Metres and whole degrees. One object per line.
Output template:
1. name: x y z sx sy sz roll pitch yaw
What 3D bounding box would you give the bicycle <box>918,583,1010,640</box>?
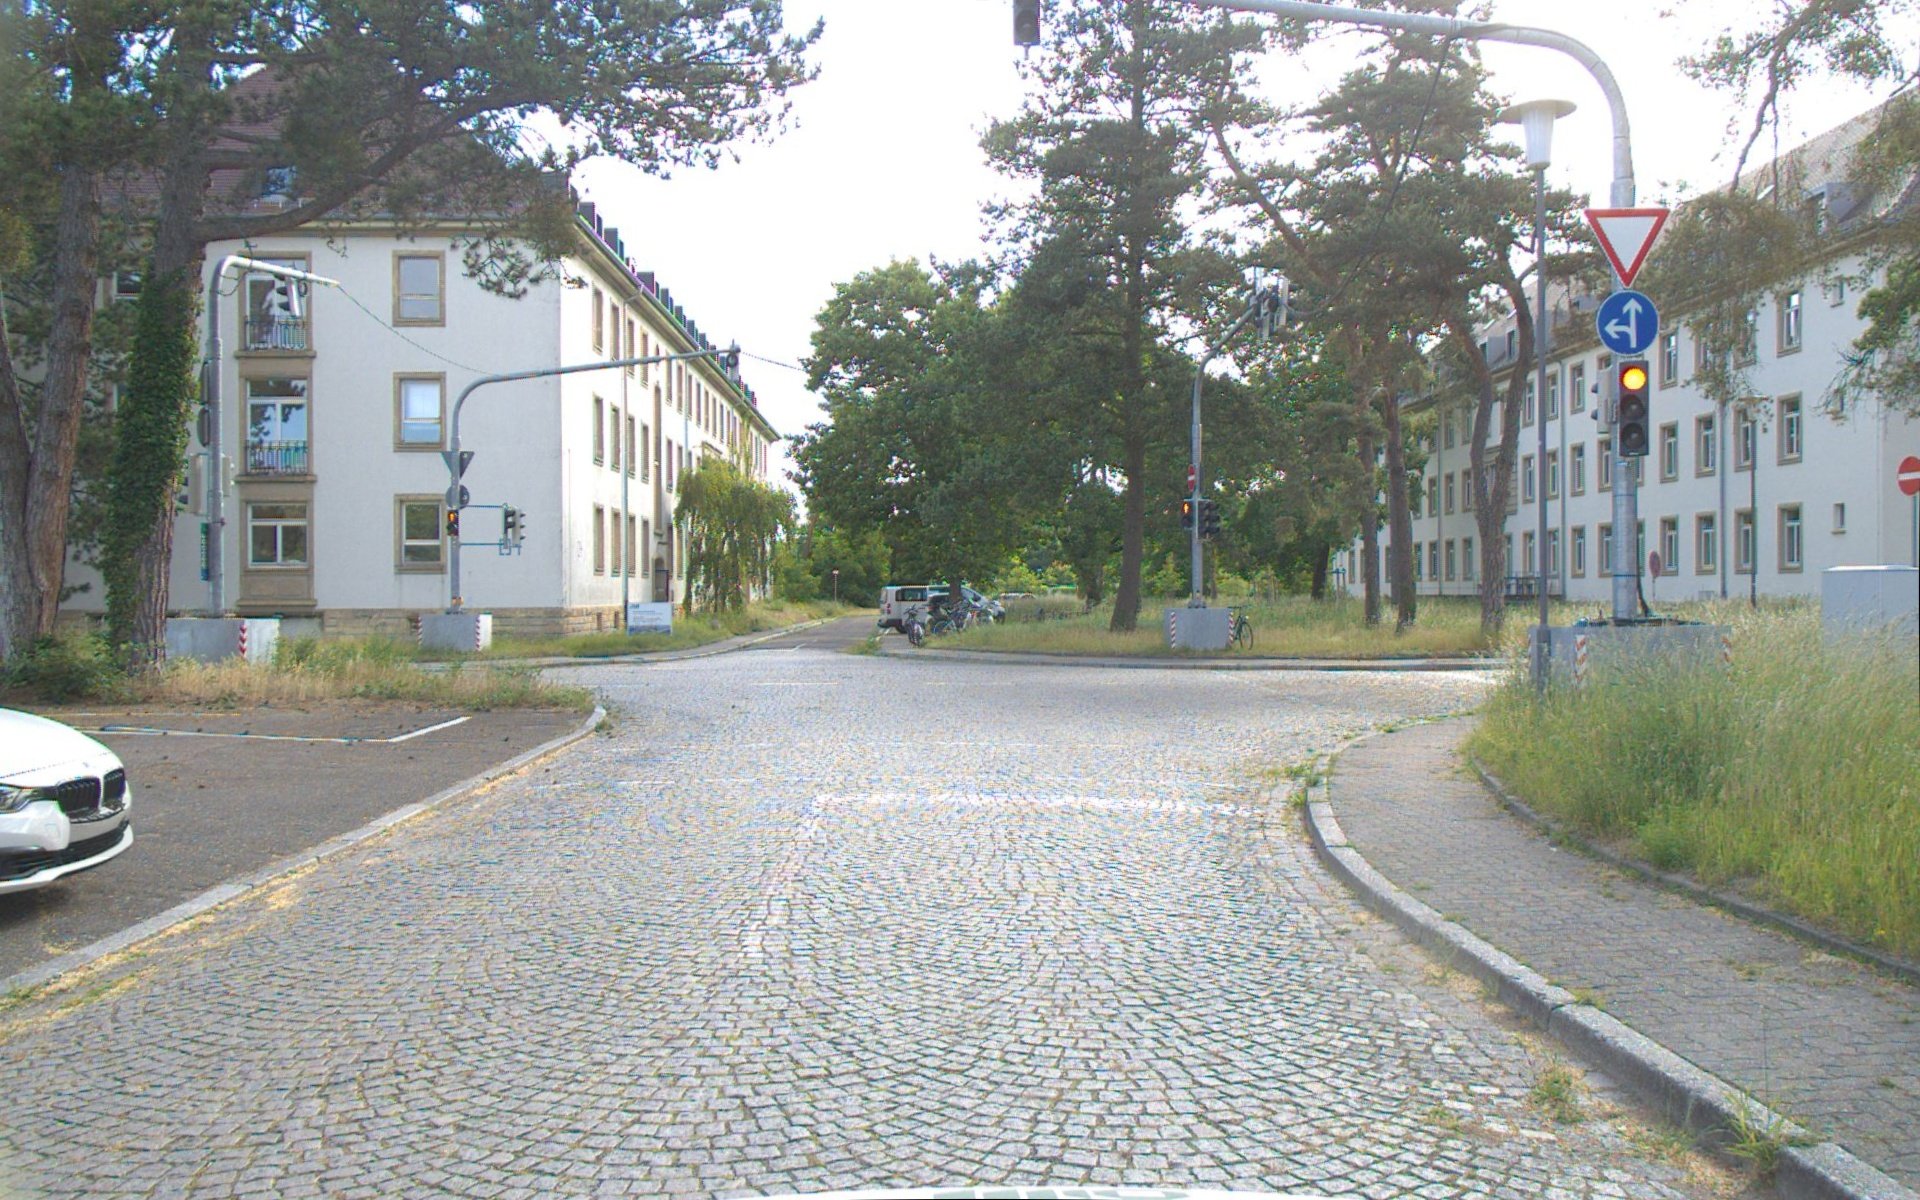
1. bicycle: 0.119 0.358 51.238 2.724 1.724 1.118 0 0 -9

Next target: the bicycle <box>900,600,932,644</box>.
1. bicycle: -1.201 0.595 45.728 0.711 1.127 2.462 -5 0 0

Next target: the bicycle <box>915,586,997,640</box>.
1. bicycle: -0.126 0.427 56.135 2.719 1.723 1.120 2 0 0

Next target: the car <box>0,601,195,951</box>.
1. car: -6.300 0.699 7.881 4.390 1.467 1.828 2 0 -5

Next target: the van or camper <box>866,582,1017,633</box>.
1. van or camper: -0.758 0.298 67.993 5.932 1.983 1.992 -1 0 -15

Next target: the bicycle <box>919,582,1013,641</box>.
1. bicycle: 0.171 0.334 50.045 2.723 1.724 1.118 0 0 -7

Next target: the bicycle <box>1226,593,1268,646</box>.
1. bicycle: 6.656 0.440 38.414 0.708 1.189 2.738 1 0 5

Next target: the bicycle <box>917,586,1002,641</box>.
1. bicycle: -0.014 0.445 54.800 2.718 1.723 1.120 2 0 2

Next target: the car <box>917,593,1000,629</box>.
1. car: -0.061 0.426 64.433 3.078 1.378 1.617 0 0 -7
